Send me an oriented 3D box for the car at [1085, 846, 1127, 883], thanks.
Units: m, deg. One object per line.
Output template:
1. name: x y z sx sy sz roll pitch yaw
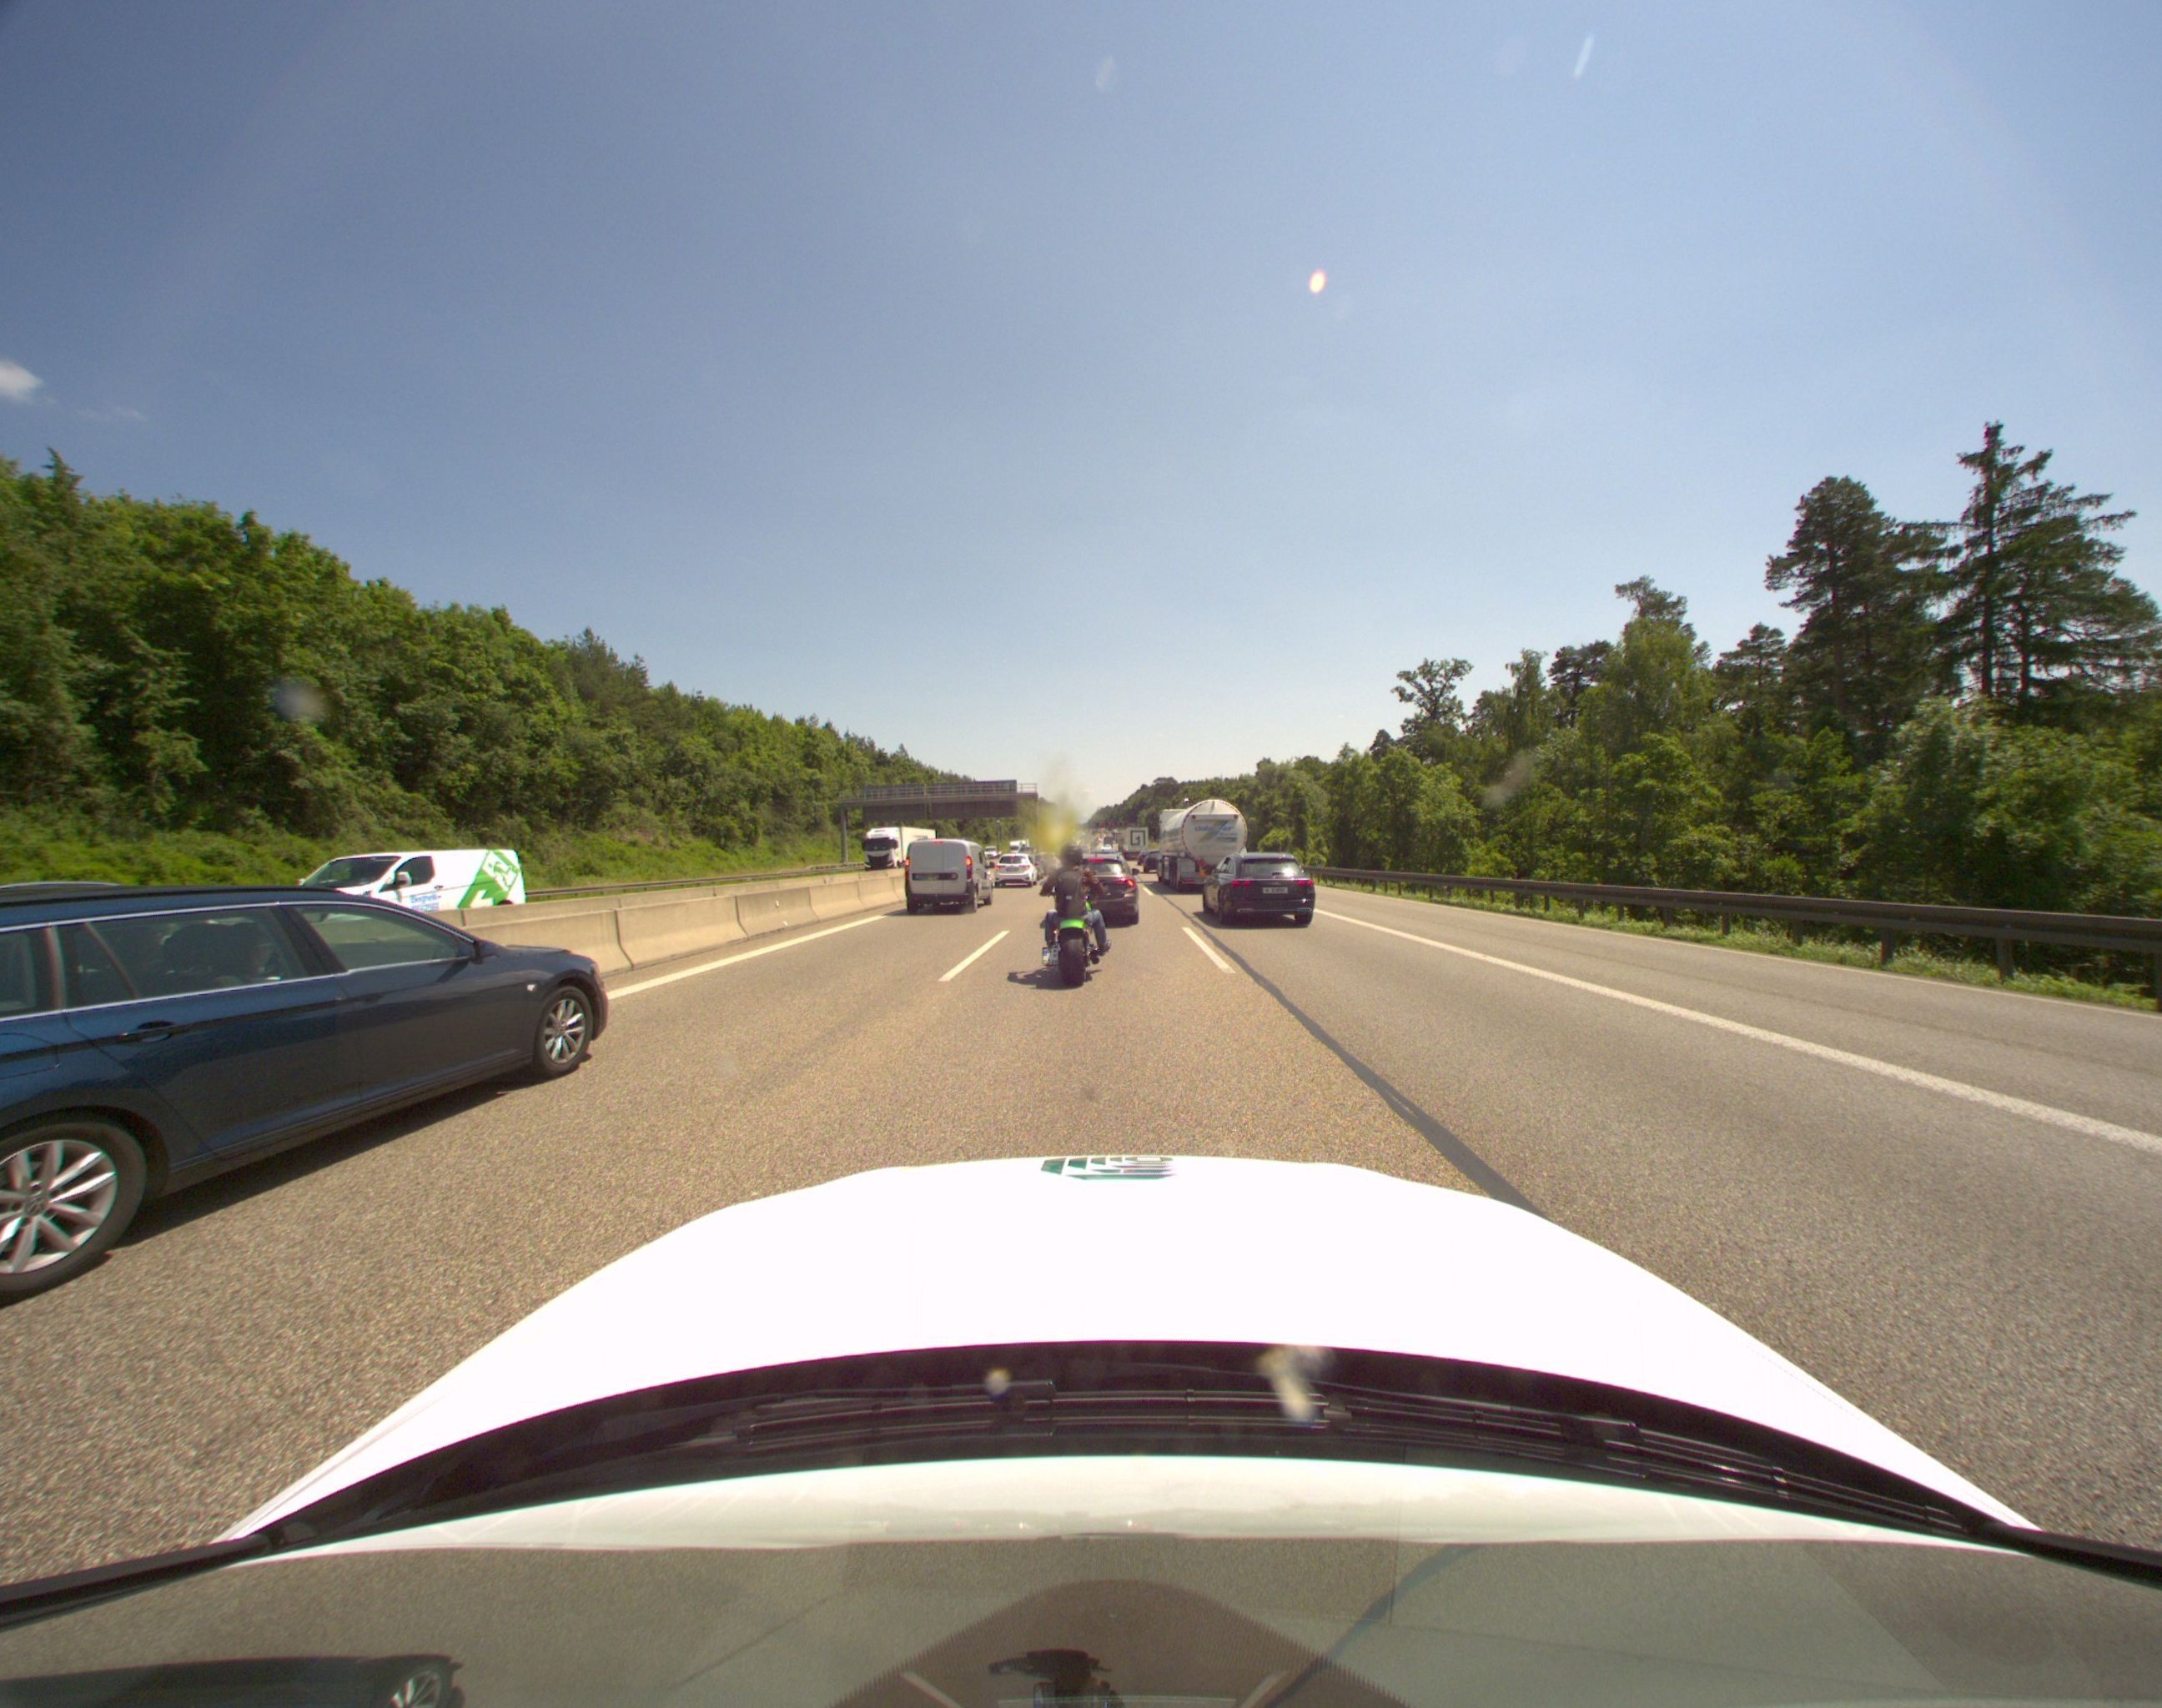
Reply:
1. car: 1.248 0.549 41.328 1.986 1.775 4.000 -1 -1 1

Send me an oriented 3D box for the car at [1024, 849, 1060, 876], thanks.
1. car: -2.534 0.554 53.449 1.986 1.684 4.332 -1 -1 2

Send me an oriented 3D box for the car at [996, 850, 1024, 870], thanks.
1. car: -5.672 0.483 65.804 1.818 1.494 4.001 -1 0 1

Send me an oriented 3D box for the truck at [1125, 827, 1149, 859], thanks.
1. truck: 7.118 -1.308 102.197 2.840 3.821 7.196 -1 -1 5

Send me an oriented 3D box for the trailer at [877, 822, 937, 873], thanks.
1. trailer: -16.173 -0.501 76.517 2.938 4.481 10.821 -1 -1 2

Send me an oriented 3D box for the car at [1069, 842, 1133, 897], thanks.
1. car: 0.673 0.524 27.812 1.986 1.711 4.000 -1 -1 1

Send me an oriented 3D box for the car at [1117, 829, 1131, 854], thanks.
1. car: 6.967 -2.015 133.551 2.159 3.892 9.333 -1 -1 2

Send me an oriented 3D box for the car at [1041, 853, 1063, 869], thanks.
1. car: -2.783 0.676 78.218 1.757 1.442 4.002 -1 -1 2

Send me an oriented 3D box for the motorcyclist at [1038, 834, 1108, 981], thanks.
1. motorcyclist: -0.077 0.624 9.888 0.796 1.688 1.017 -1 -1 2

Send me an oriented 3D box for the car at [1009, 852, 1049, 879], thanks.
1. car: -2.930 0.667 46.958 1.987 1.464 4.000 -1 -1 1

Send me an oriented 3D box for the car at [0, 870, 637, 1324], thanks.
1. car: -4.482 0.852 4.032 1.867 1.450 4.680 -1 0 2

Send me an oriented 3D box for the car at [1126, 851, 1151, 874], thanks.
1. car: 5.217 0.768 74.666 1.987 2.014 4.000 -1 -1 0

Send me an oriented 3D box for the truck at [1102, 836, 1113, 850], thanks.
1. truck: 7.004 -2.809 214.679 2.686 3.405 10.483 -2 0 2

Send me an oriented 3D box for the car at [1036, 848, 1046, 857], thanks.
1. car: -8.741 -0.385 178.710 1.777 1.838 4.295 -1 -1 2

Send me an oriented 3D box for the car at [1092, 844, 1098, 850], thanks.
1. car: 4.177 -2.066 241.207 1.763 1.556 4.002 -2 0 2

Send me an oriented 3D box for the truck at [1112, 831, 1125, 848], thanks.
1. truck: 8.150 -3.191 178.131 2.686 3.405 10.483 -2 0 2

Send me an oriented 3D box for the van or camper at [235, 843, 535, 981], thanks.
1. van or camper: -14.545 1.105 17.528 1.986 2.385 4.811 -6 -1 2

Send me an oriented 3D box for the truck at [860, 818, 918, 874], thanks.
1. truck: -16.388 -0.594 69.961 2.938 4.481 7.521 -1 -1 2

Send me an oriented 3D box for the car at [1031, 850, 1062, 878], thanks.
1. car: -2.529 0.771 60.880 1.986 2.014 4.001 -1 -1 1

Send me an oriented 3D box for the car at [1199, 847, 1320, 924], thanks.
1. car: 3.757 0.638 17.937 1.785 1.458 4.626 -1 -1 2

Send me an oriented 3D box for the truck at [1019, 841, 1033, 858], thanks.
1. truck: -13.959 -1.142 207.501 2.682 3.989 7.994 -1 -1 2

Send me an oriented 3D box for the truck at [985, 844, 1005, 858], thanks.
1. truck: -13.769 -0.453 130.771 2.343 2.014 6.493 -1 -1 1

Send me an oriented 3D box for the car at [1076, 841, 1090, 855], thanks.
1. car: 0.309 -0.891 124.857 1.986 2.013 4.002 -2 0 2

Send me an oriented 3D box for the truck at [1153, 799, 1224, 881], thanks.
1. truck: 5.113 -0.584 39.765 2.817 3.671 6.432 -1 -1 2

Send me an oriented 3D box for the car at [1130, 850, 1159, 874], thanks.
1. car: 4.269 0.549 55.403 1.769 1.527 4.002 -1 -1 2

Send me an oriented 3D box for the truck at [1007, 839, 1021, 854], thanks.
1. truck: -13.383 -1.451 162.669 2.170 2.884 6.744 -1 -1 1

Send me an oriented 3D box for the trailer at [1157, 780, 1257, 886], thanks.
1. trailer: 4.909 -0.681 33.836 2.817 3.671 10.737 -1 -1 2

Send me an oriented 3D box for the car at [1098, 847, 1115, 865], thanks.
1. car: 3.091 0.248 98.057 1.986 2.013 4.002 -1 0 2

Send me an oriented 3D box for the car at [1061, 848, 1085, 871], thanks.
1. car: -0.708 0.513 73.781 1.986 2.014 4.002 -1 -1 2

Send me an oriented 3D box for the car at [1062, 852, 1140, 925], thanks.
1. car: 0.462 0.679 18.147 1.535 1.450 4.002 -1 0 2

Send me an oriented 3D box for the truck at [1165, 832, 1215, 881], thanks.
1. truck: 7.154 0.157 54.342 2.380 2.979 8.254 -1 0 1

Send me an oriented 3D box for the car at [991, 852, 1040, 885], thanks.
1. car: -2.922 0.648 37.118 1.769 1.411 4.002 -1 -1 2

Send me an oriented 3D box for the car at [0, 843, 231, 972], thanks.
1. car: -17.915 0.864 13.899 2.107 2.014 4.476 -1 -1 -1

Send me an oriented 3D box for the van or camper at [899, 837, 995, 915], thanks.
1. van or camper: -3.524 0.512 22.247 1.847 1.880 4.560 0 1 0

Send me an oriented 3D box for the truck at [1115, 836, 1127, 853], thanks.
1. truck: 5.398 -1.261 109.680 1.584 2.111 3.756 -1 -1 4

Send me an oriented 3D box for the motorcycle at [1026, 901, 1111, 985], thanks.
1. motorcycle: -0.097 1.054 10.189 0.932 0.793 2.300 -1 0 2
